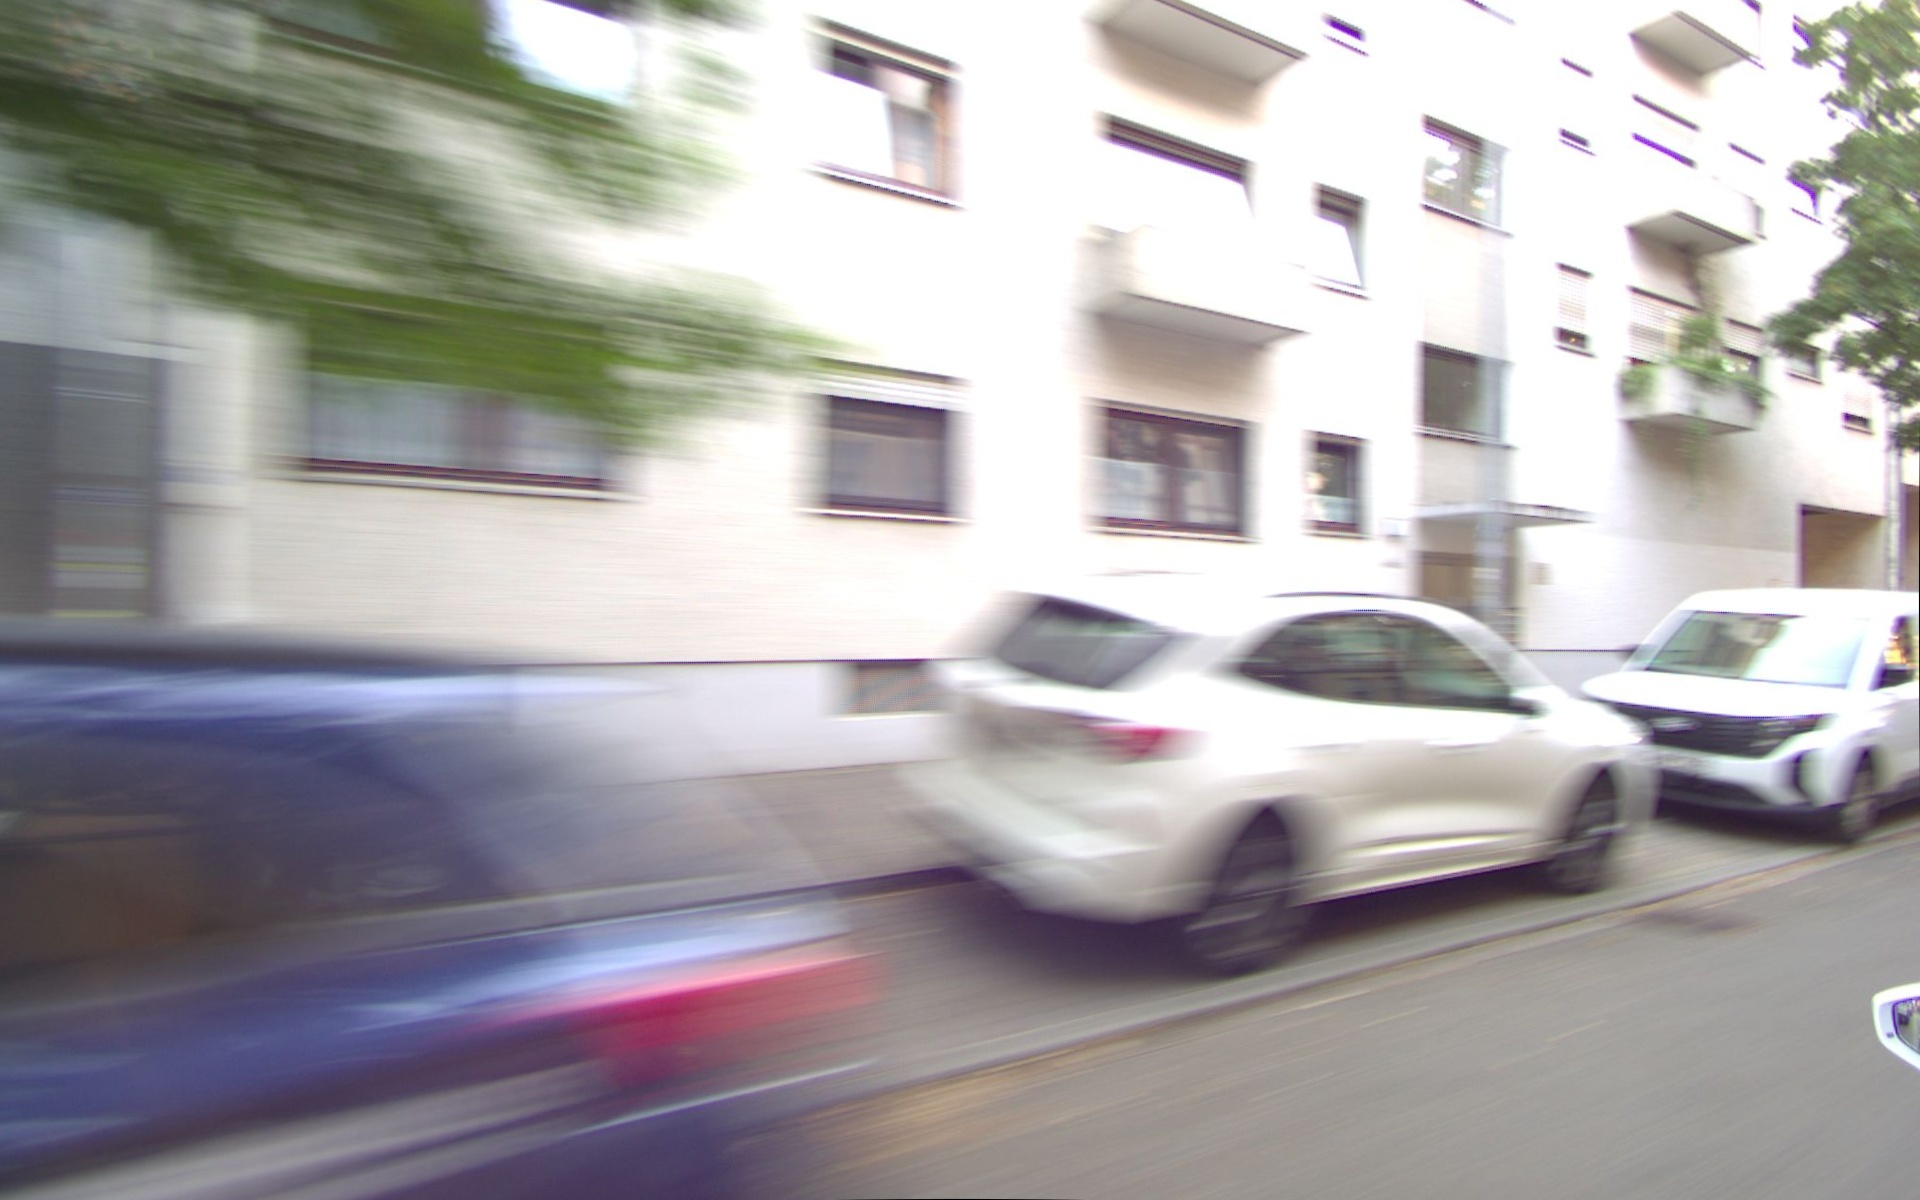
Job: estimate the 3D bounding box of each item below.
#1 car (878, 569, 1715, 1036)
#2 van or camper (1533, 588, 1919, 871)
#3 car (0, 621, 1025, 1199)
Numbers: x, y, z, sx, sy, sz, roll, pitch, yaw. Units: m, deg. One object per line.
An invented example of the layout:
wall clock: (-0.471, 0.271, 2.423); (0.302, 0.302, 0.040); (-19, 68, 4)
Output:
car: (2.047, 0.737, 5.741); (4.595, 1.695, 2.023); (0, 2, -31)
van or camper: (7.049, 0.845, 8.465); (4.414, 1.783, 1.921); (0, 2, -31)
car: (-2.280, 0.788, 1.036); (4.464, 1.537, 1.821); (1, -1, -31)
